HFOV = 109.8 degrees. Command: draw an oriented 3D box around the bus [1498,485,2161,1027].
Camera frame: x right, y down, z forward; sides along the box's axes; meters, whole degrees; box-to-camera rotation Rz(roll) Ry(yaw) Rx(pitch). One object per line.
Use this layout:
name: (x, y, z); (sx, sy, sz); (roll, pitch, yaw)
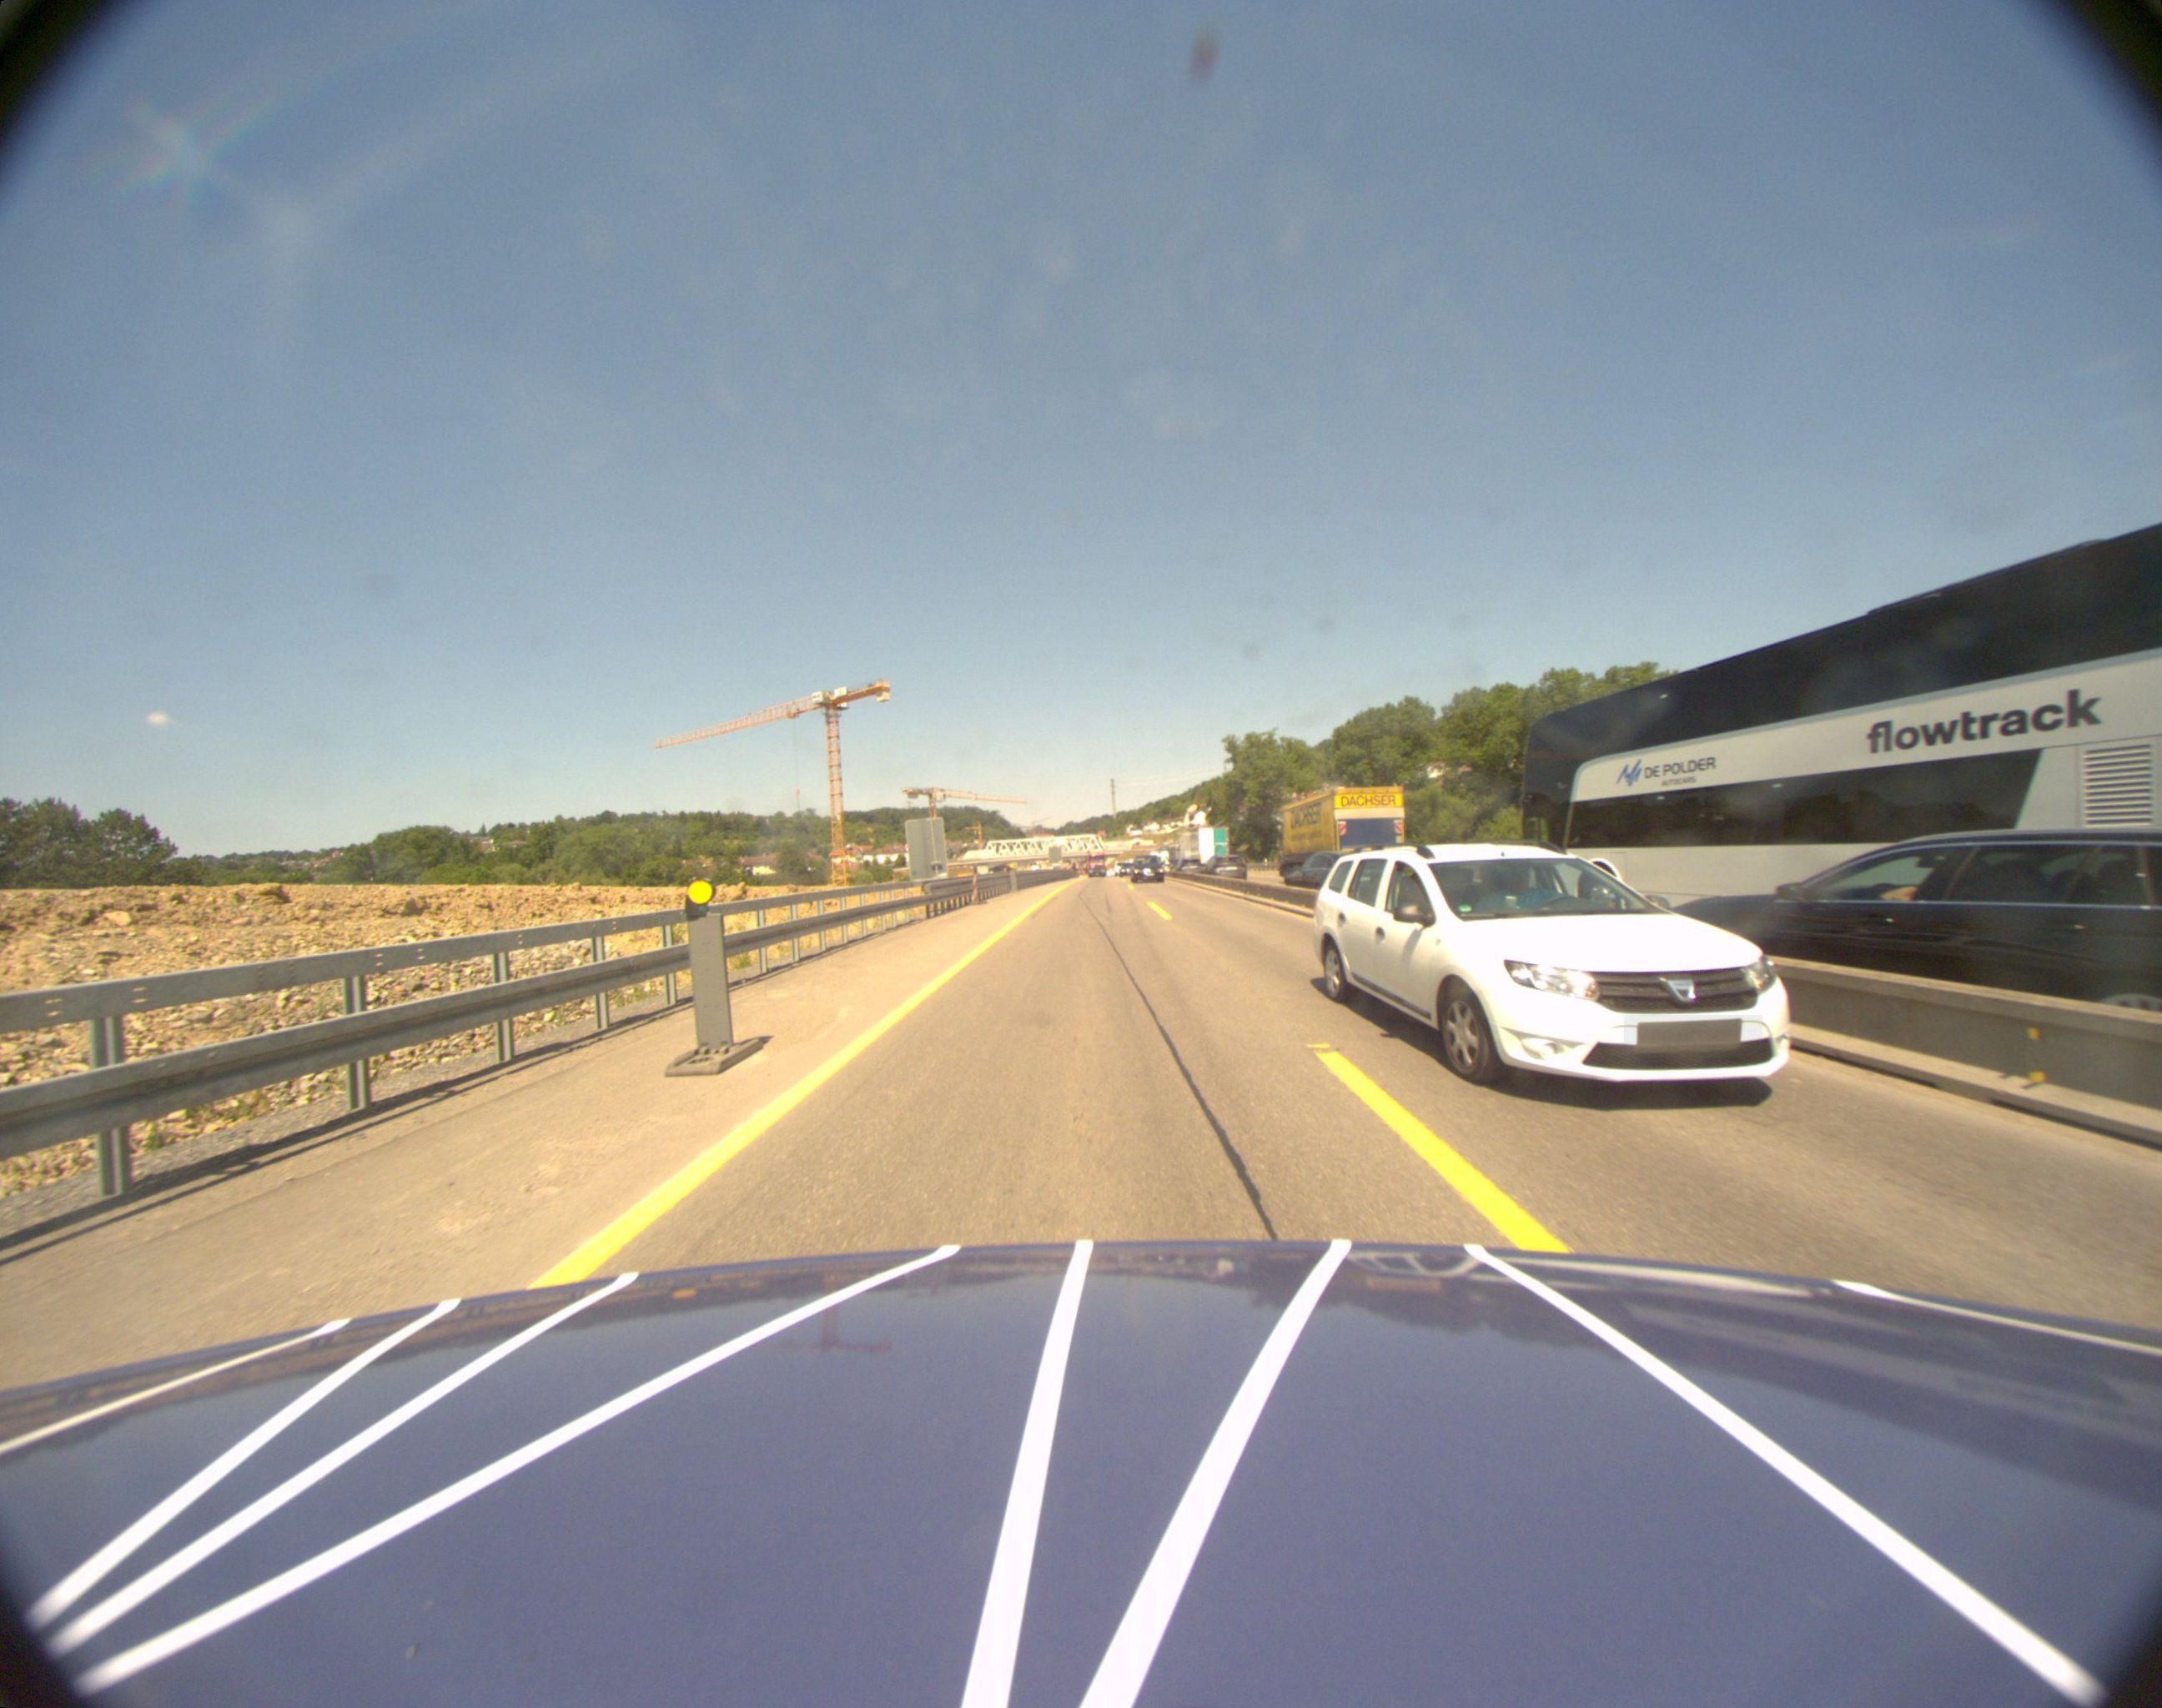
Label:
bus: (9.880, -0.802, 8.301); (2.746, 4.239, 14.476); (-2, 0, 1)

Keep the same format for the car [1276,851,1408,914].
car: (6.760, 0.670, 20.272); (1.842, 1.435, 4.930); (-2, 0, 1)

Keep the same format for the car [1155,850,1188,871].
car: (8.127, 0.585, 68.487); (2.377, 1.716, 5.781); (-2, 0, 1)

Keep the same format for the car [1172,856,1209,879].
car: (7.682, 0.925, 53.711); (1.887, 1.423, 5.125); (-2, 0, 1)

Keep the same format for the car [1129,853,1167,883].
car: (4.037, 0.826, 46.179); (1.862, 1.683, 4.097); (-2, 0, -1)

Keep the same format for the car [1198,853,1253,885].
car: (7.181, 0.714, 38.217); (1.864, 1.485, 4.904); (0, 0, 0)

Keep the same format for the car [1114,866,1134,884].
car: (4.288, 2.077, 75.756); (1.791, 1.577, 4.002); (-4, -2, 2)

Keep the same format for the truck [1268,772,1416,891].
truck: (10.534, -0.808, 32.065); (2.809, 4.128, 10.079); (-2, 0, 1)

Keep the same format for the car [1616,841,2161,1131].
car: (6.487, 0.680, 5.281); (1.923, 1.414, 5.091); (-4, -1, 1)

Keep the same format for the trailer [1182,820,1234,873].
trailer: (11.506, -0.578, 70.168); (2.822, 4.404, 13.170); (-2, -1, 2)

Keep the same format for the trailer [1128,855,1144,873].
trailer: (13.851, 2.526, 191.325); (2.814, 4.150, 11.800); (-2, -2, -2)

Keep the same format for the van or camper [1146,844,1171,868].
van or camper: (8.646, 0.251, 85.264); (2.224, 2.497, 6.533); (-2, 0, 1)

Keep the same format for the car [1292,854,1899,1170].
car: (3.226, 0.804, 6.166); (1.823, 1.521, 4.706); (-2, 0, 2)

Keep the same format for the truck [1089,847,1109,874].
truck: (2.722, 0.941, 112.026); (2.702, 3.704, 8.510); (-2, -1, 2)

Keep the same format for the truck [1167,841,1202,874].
truck: (12.558, 0.503, 93.176); (2.912, 3.741, 8.369); (-3, -2, 0)

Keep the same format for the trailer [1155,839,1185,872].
trailer: (12.916, 0.352, 111.485); (3.109, 4.437, 13.024); (-2, -1, 2)

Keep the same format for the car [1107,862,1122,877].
car: (4.370, 2.015, 98.576); (1.791, 1.870, 4.002); (-4, -2, 2)
